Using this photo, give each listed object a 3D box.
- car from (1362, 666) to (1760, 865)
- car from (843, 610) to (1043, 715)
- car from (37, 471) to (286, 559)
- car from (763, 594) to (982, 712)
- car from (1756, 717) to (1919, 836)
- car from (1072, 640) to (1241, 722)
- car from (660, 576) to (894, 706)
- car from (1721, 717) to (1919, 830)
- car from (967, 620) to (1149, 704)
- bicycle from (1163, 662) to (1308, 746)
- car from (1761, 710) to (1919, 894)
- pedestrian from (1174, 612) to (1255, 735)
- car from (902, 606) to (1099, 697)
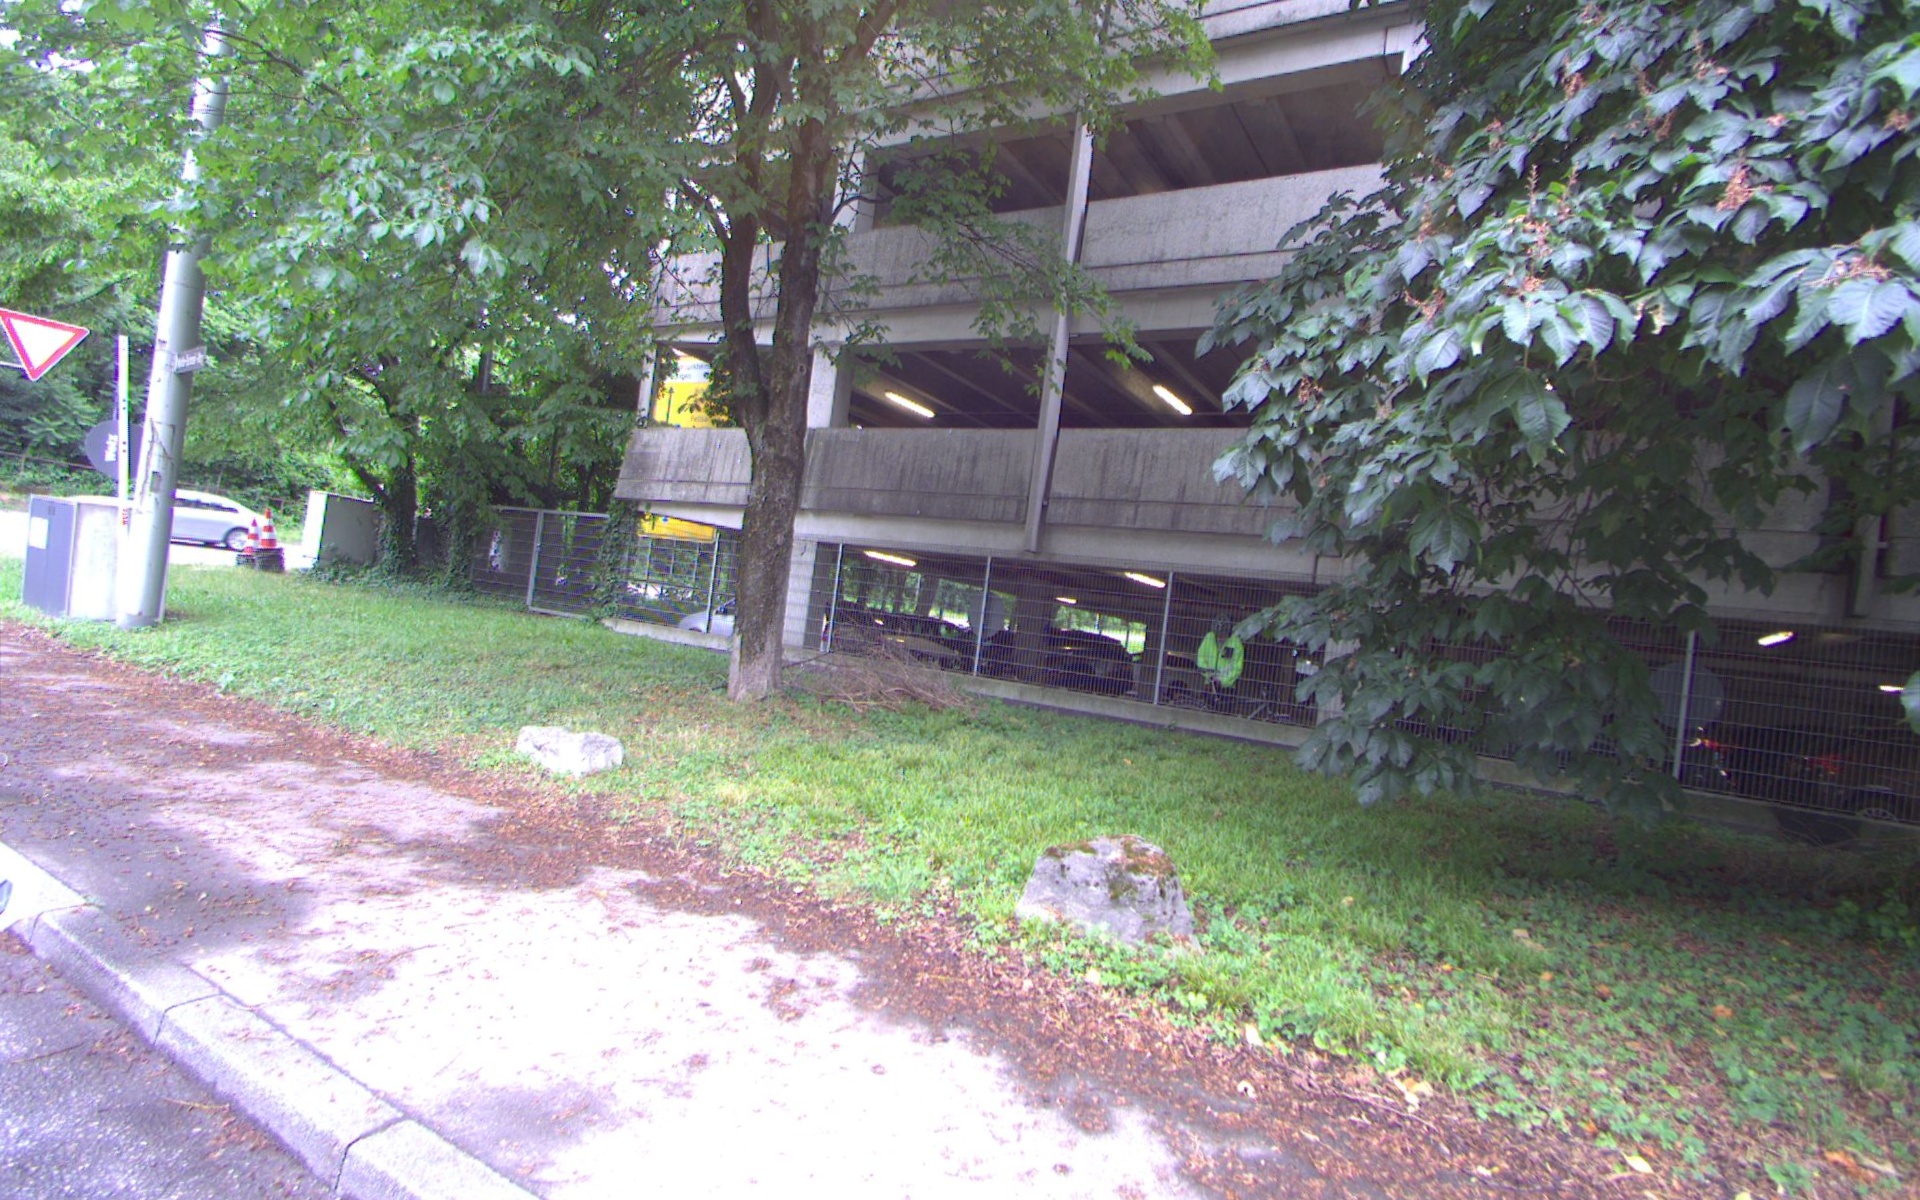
[{"bbox_3d":[8.617,2.293,14.839,4.597,2.036,1.998,5,-3,31],"label":"car"},{"bbox_3d":[-0.376,1.284,20.883,3.658,1.682,1.734,5,-3,32],"label":"car"},{"bbox_3d":[-21.054,-2.194,26.765,1.803,1.349,4.761,10,-1,31],"label":"car"},{"bbox_3d":[-1.670,0.976,18.827,3.707,1.727,1.584,5,-3,32],"label":"car"},{"bbox_3d":[15.608,2.993,16.519,3.640,1.625,1.721,5,-3,30],"label":"car"},{"bbox_3d":[6.135,2.522,31.556,4.658,1.855,1.923,6,-3,33],"label":"car"},{"bbox_3d":[-3.116,0.661,16.901,3.658,1.727,1.484,5,-3,32],"label":"car"},{"bbox_3d":[16.597,3.245,18.654,3.640,1.625,1.721,5,-3,30],"label":"car"},{"bbox_3d":[2.437,1.531,25.158,3.934,1.569,1.998,5,-3,32],"label":"car"},{"bbox_3d":[3.116,1.169,11.382,1.469,0.744,0.448,6,-3,24],"label":"bicycle"},{"bbox_3d":[12.667,2.658,12.471,3.935,2.036,1.997,5,-3,33],"label":"car"},{"bbox_3d":[2.963,0.857,11.690,0.626,1.332,0.642,5,-3,31],"label":"pedestrian"},{"bbox_3d":[0.921,1.181,23.220,3.934,1.569,1.998,5,-3,32],"label":"car"}]
